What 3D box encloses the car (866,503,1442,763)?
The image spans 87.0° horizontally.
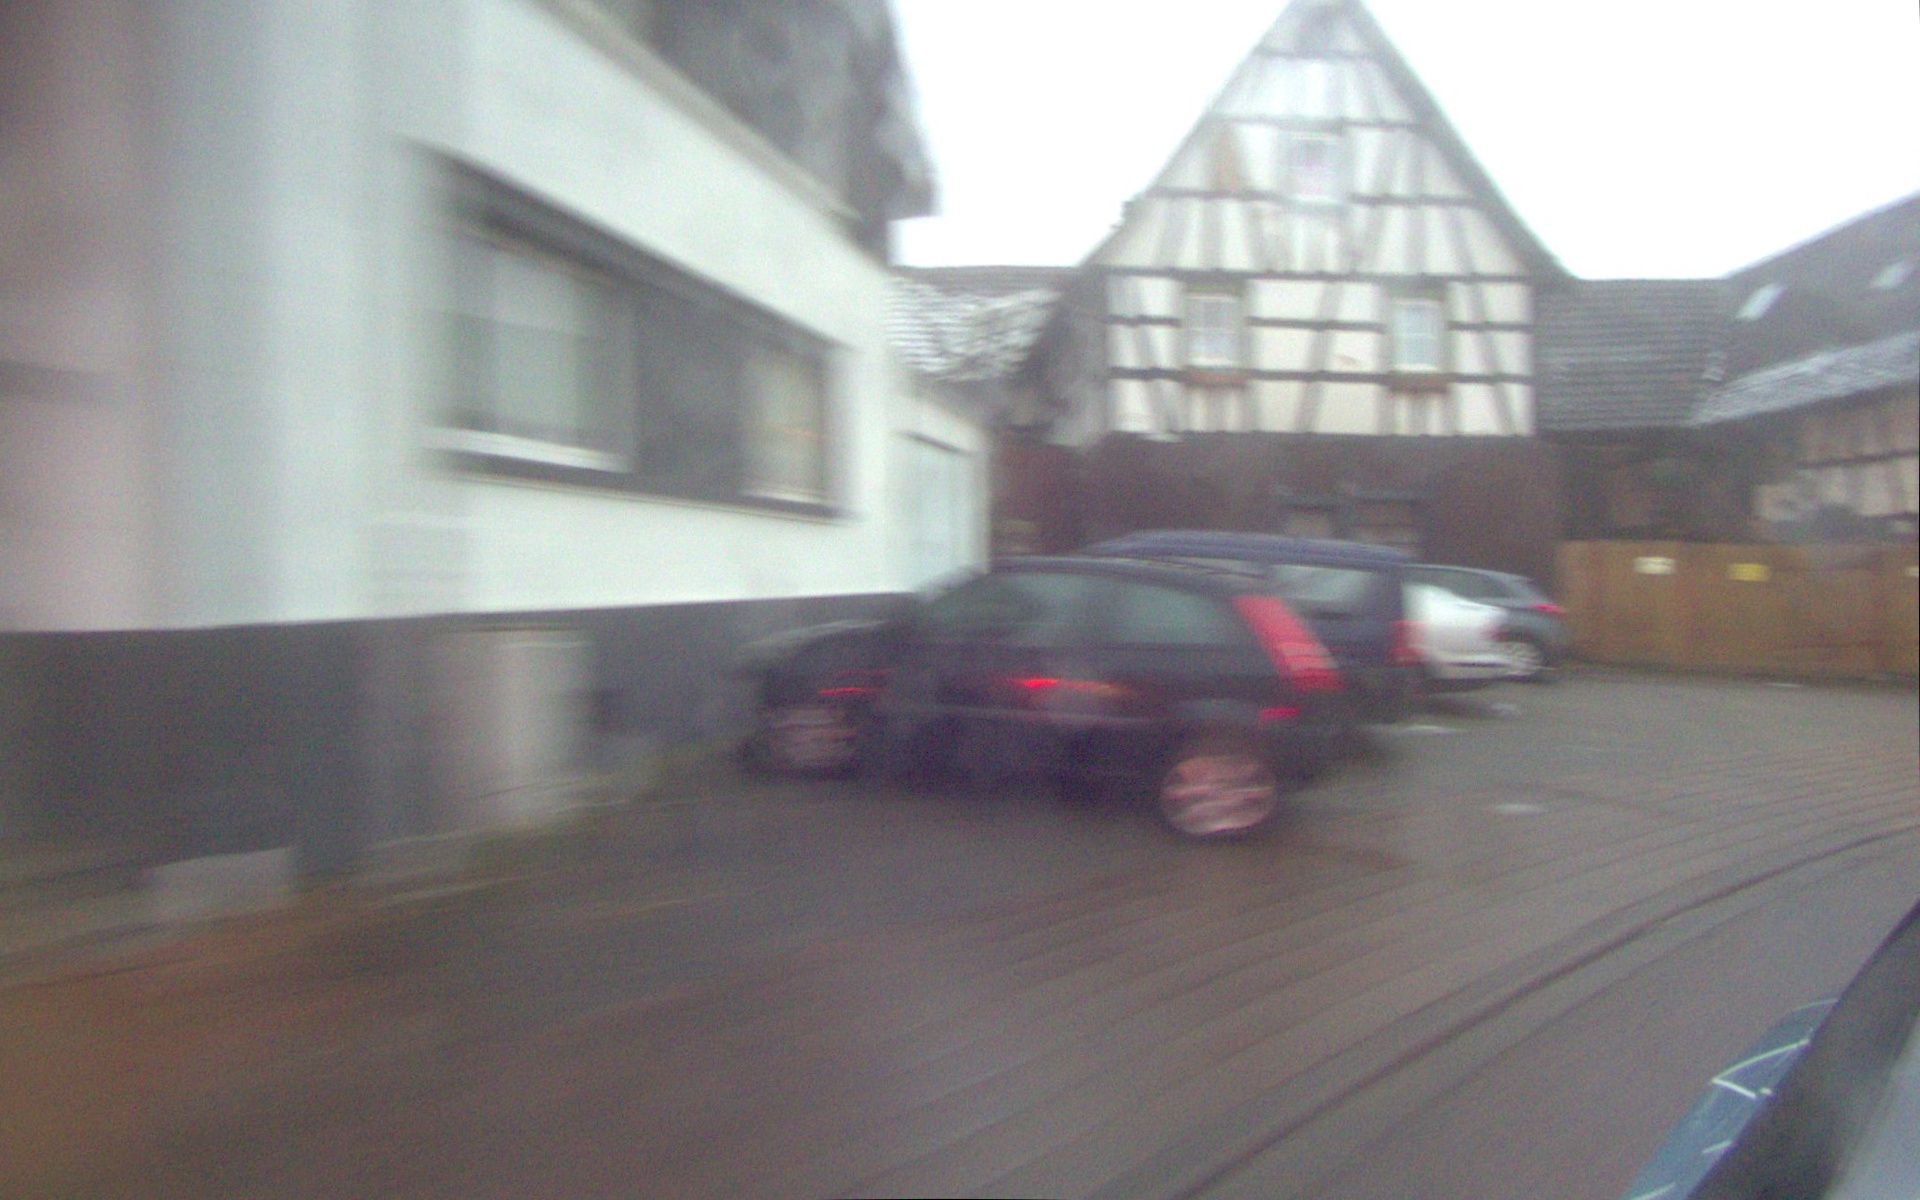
[{"bbox_3d":[1.596,0.122,8.876,4.419,1.680,1.845,5,4,19],"label":"car"}]

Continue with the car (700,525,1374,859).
[{"bbox_3d":[0.504,0.364,6.562,3.846,1.467,1.877,5,4,20],"label":"car"}]

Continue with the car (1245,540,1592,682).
[{"bbox_3d":[6.008,0.067,13.741,3.925,1.533,1.592,4,4,13],"label":"car"}]

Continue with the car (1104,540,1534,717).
[{"bbox_3d":[3.750,0.180,11.026,3.989,1.437,1.804,5,4,20],"label":"car"}]
